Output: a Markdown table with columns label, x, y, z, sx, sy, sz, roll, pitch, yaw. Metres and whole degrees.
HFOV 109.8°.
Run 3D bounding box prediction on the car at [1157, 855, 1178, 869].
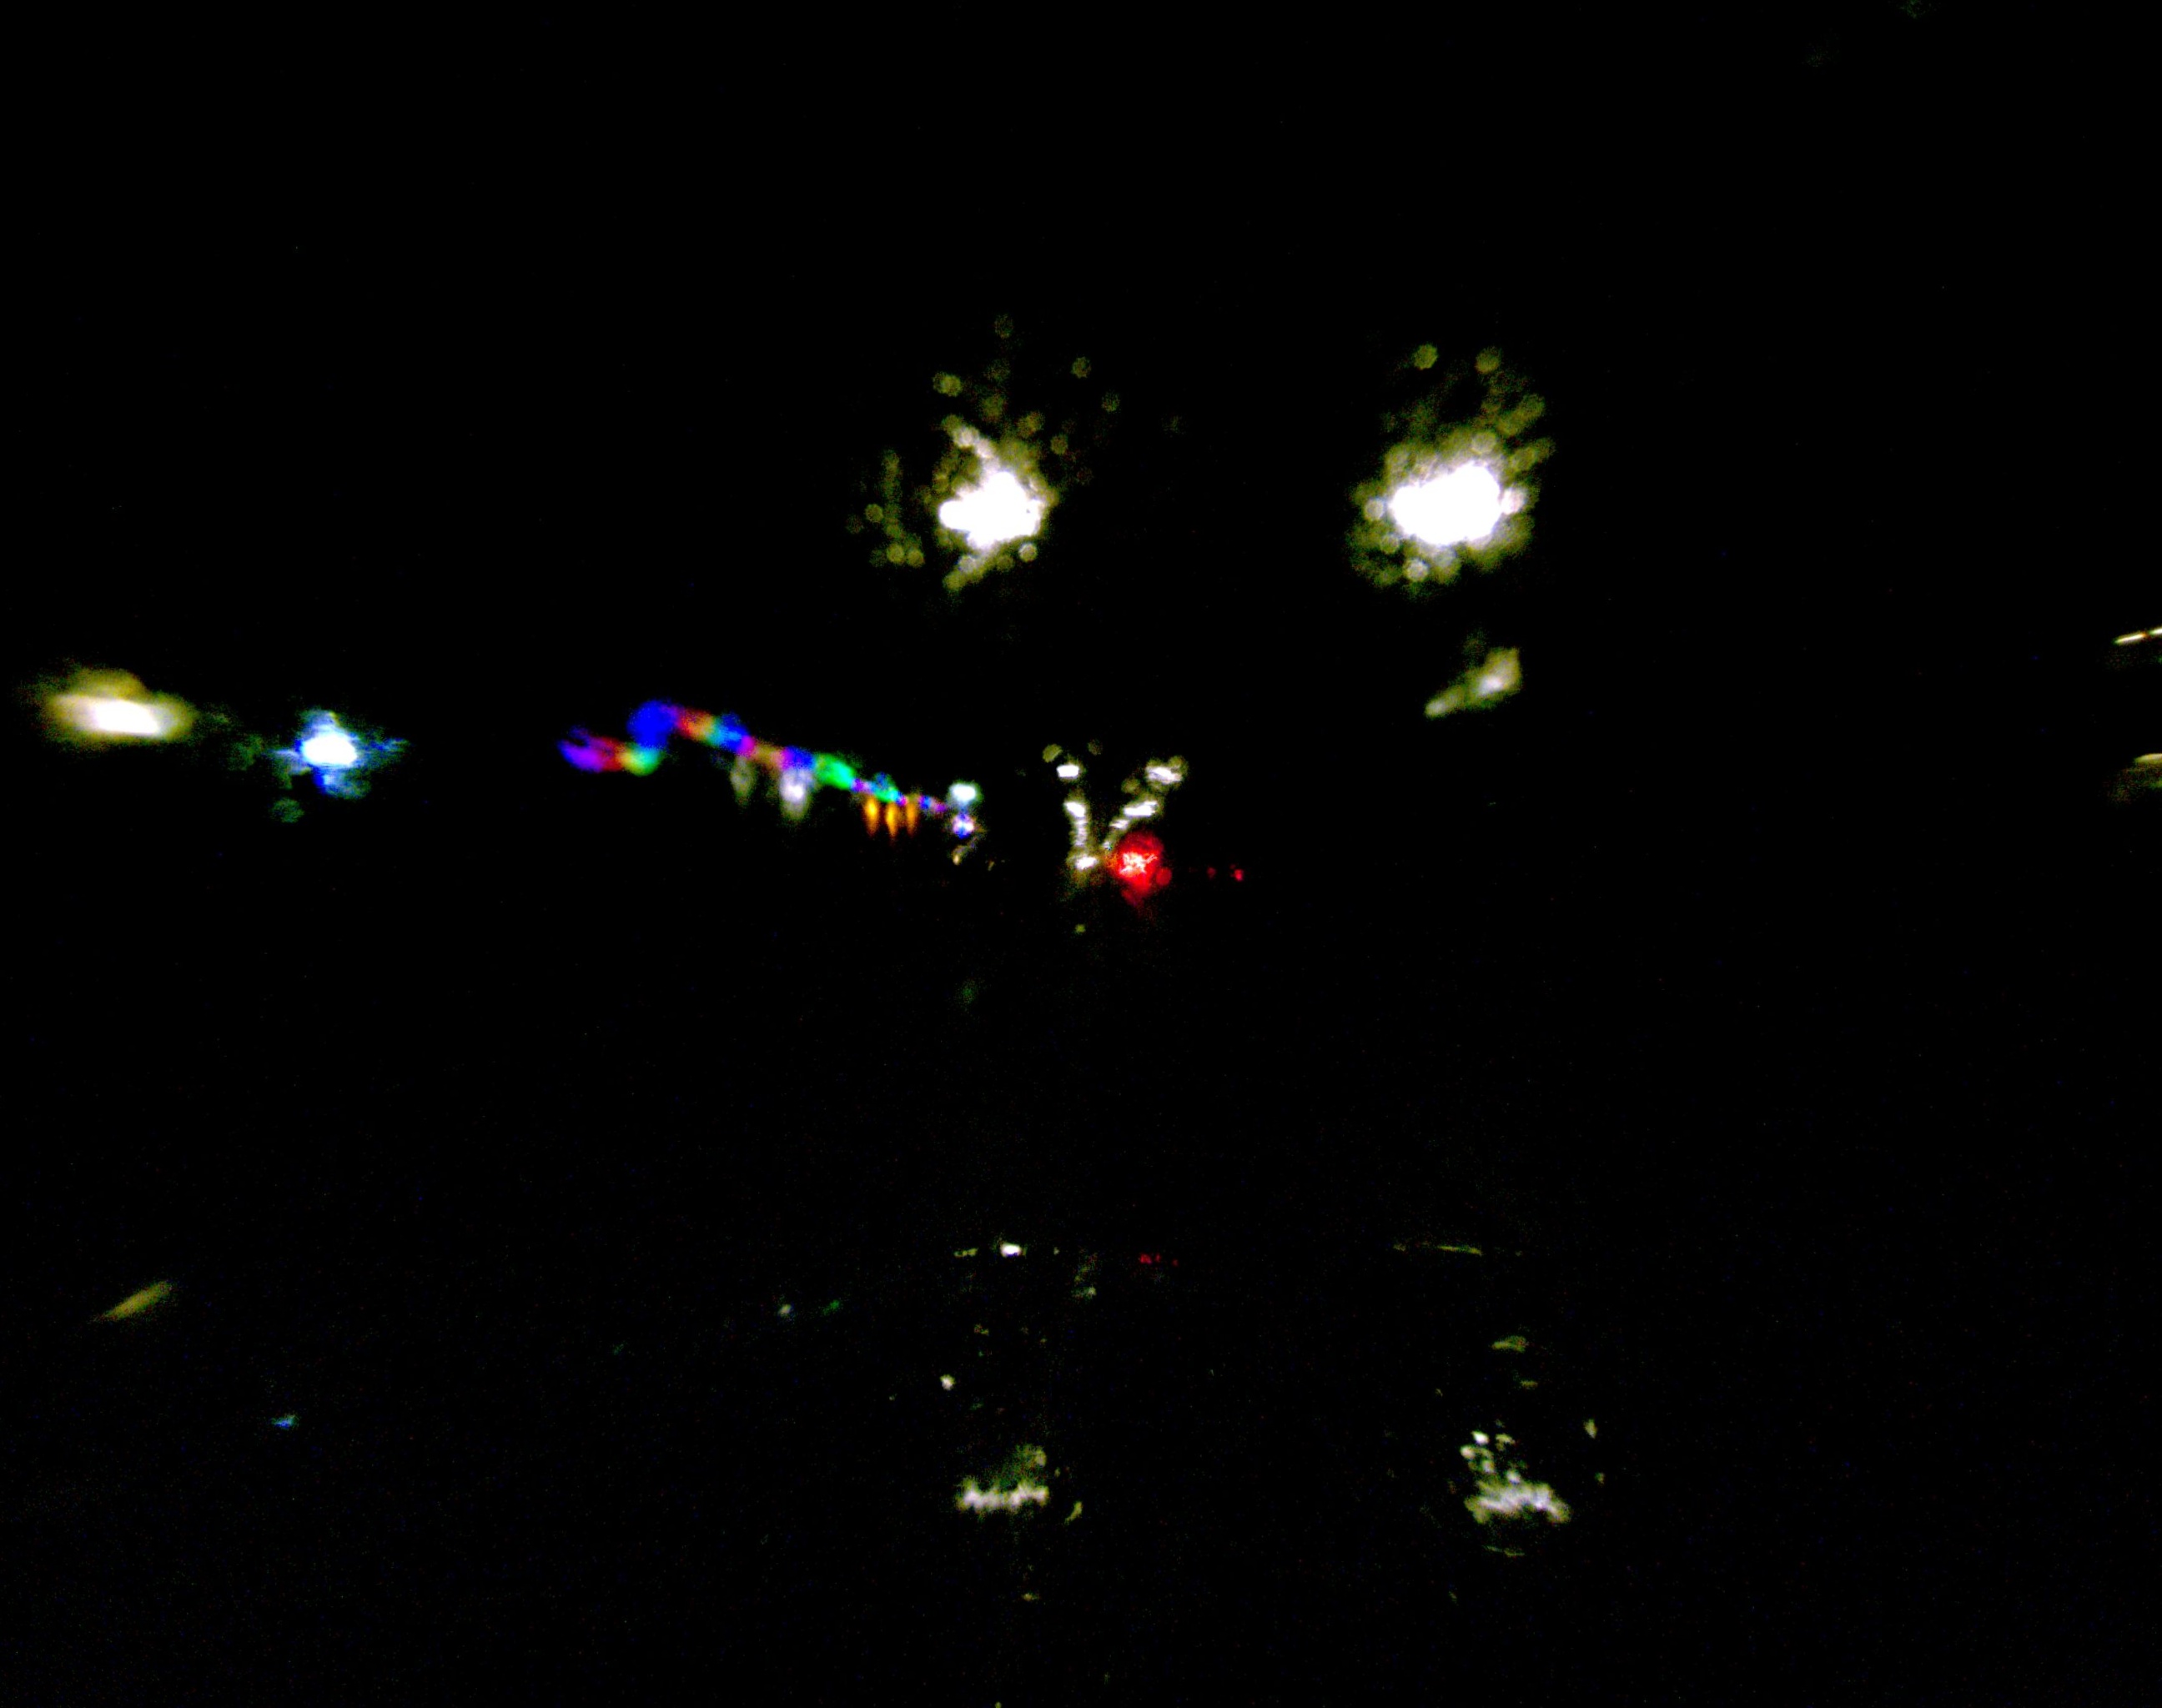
| label | x | y | z | sx | sy | sz | roll | pitch | yaw |
| --- | --- | --- | --- | --- | --- | --- | --- | --- | --- |
| car | 11.222 | 1.063 | 98.555 | 2.149 | 1.610 | 4.589 | -4 | 1 | 1 |

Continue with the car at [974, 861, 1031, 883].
| label | x | y | z | sx | sy | sz | roll | pitch | yaw |
| --- | --- | --- | --- | --- | --- | --- | --- | --- | --- |
| car | -6.291 | 1.423 | 60.887 | 4.111 | 1.528 | 1.956 | -2 | 1 | -24 |

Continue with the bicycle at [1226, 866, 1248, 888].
| label | x | y | z | sx | sy | sz | roll | pitch | yaw |
| --- | --- | --- | --- | --- | --- | --- | --- | --- | --- |
| bicycle | 8.158 | 1.195 | 39.890 | 0.784 | 1.076 | 1.918 | 1 | 1 | 1 |

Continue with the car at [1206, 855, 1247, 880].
| label | x | y | z | sx | sy | sz | roll | pitch | yaw |
| --- | --- | --- | --- | --- | --- | --- | --- | --- | --- |
| car | 10.414 | 0.941 | 54.722 | 1.885 | 1.536 | 4.398 | -5 | 1 | -2 |

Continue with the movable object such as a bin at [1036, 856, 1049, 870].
| label | x | y | z | sx | sy | sz | roll | pitch | yaw |
| --- | --- | --- | --- | --- | --- | --- | --- | --- | --- |
| movable object such as a bin | -4.022 | 0.904 | 79.552 | 1.326 | 1.400 | 1.159 | 0 | 1 | -4 |

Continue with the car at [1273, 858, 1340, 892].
| label | x | y | z | sx | sy | sz | roll | pitch | yaw |
| --- | --- | --- | --- | --- | --- | --- | --- | --- | --- |
| car | 9.975 | 0.889 | 33.832 | 1.695 | 1.413 | 3.913 | -1 | 0 | -2 |

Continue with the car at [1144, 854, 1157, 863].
| label | x | y | z | sx | sy | sz | roll | pitch | yaw |
| --- | --- | --- | --- | --- | --- | --- | --- | --- | --- |
| car | 11.601 | 0.786 | 127.243 | 1.723 | 1.447 | 3.950 | -1 | 1 | 0 |

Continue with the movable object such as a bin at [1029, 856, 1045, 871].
| label | x | y | z | sx | sy | sz | roll | pitch | yaw |
| --- | --- | --- | --- | --- | --- | --- | --- | --- | --- |
| movable object such as a bin | -4.472 | 0.954 | 77.293 | 1.371 | 1.414 | 1.073 | 0 | 1 | 6 |

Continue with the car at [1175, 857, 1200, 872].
| label | x | y | z | sx | sy | sz | roll | pitch | yaw |
| --- | --- | --- | --- | --- | --- | --- | --- | --- | --- |
| car | 10.833 | 1.063 | 77.554 | 1.845 | 1.415 | 4.208 | -1 | 0 | -2 |

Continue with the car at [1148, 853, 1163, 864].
| label | x | y | z | sx | sy | sz | roll | pitch | yaw |
| --- | --- | --- | --- | --- | --- | --- | --- | --- | --- |
| car | 11.581 | 0.730 | 118.229 | 1.814 | 1.569 | 4.353 | -4 | 0 | 1 |

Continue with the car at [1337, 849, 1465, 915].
| label | x | y | z | sx | sy | sz | roll | pitch | yaw |
| --- | --- | --- | --- | --- | --- | --- | --- | --- | --- |
| car | 9.424 | 0.748 | 22.816 | 1.974 | 1.646 | 4.601 | -3 | 0 | 2 |

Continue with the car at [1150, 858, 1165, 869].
| label | x | y | z | sx | sy | sz | roll | pitch | yaw |
| --- | --- | --- | --- | --- | --- | --- | --- | --- | --- |
| car | 10.839 | 1.283 | 107.440 | 1.735 | 1.430 | 4.626 | -1 | 0 | 1 |

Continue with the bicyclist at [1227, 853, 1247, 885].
| label | x | y | z | sx | sy | sz | roll | pitch | yaw |
| --- | --- | --- | --- | --- | --- | --- | --- | --- | --- |
| bicyclist | 8.165 | 0.770 | 39.879 | 0.784 | 1.646 | 1.206 | 1 | 1 | 1 |

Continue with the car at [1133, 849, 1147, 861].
| label | x | y | z | sx | sy | sz | roll | pitch | yaw |
| --- | --- | --- | --- | --- | --- | --- | --- | --- | --- |
| car | 12.397 | 0.161 | 160.652 | 2.248 | 2.494 | 5.259 | -3 | 1 | -2 |

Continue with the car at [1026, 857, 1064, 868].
| label | x | y | z | sx | sy | sz | roll | pitch | yaw |
| --- | --- | --- | --- | --- | --- | --- | --- | --- | --- |
| car | -4.697 | 1.085 | 98.410 | 4.604 | 1.467 | 1.837 | 0 | 0 | -19 |

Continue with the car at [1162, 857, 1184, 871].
| label | x | y | z | sx | sy | sz | roll | pitch | yaw |
| --- | --- | --- | --- | --- | --- | --- | --- | --- | --- |
| car | 10.507 | 1.109 | 86.907 | 1.778 | 1.432 | 4.606 | -1 | 0 | -3 |

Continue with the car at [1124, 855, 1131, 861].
| label | x | y | z | sx | sy | sz | roll | pitch | yaw |
| --- | --- | --- | --- | --- | --- | --- | --- | --- | --- |
| car | 12.539 | 0.979 | 203.065 | 1.693 | 1.565 | 3.918 | -1 | 1 | 1 |

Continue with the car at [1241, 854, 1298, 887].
| label | x | y | z | sx | sy | sz | roll | pitch | yaw |
| --- | --- | --- | --- | --- | --- | --- | --- | --- | --- |
| car | 10.152 | 0.862 | 41.268 | 1.988 | 1.622 | 4.517 | -1 | 1 | 1 |

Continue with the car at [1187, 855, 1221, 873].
| label | x | y | z | sx | sy | sz | roll | pitch | yaw |
| --- | --- | --- | --- | --- | --- | --- | --- | --- | --- |
| car | 10.783 | 0.862 | 67.097 | 1.893 | 1.454 | 4.958 | -1 | 0 | -3 |

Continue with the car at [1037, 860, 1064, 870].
| label | x | y | z | sx | sy | sz | roll | pitch | yaw |
| --- | --- | --- | --- | --- | --- | --- | --- | --- | --- |
| car | -5.044 | 1.781 | 125.404 | 4.350 | 1.459 | 1.677 | -1 | 0 | -37 |

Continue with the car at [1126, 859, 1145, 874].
| label | x | y | z | sx | sy | sz | roll | pitch | yaw |
| --- | --- | --- | --- | --- | --- | --- | --- | --- | --- |
| car | 5.843 | 1.376 | 81.710 | 1.780 | 1.509 | 4.051 | -1 | 0 | 1 |
